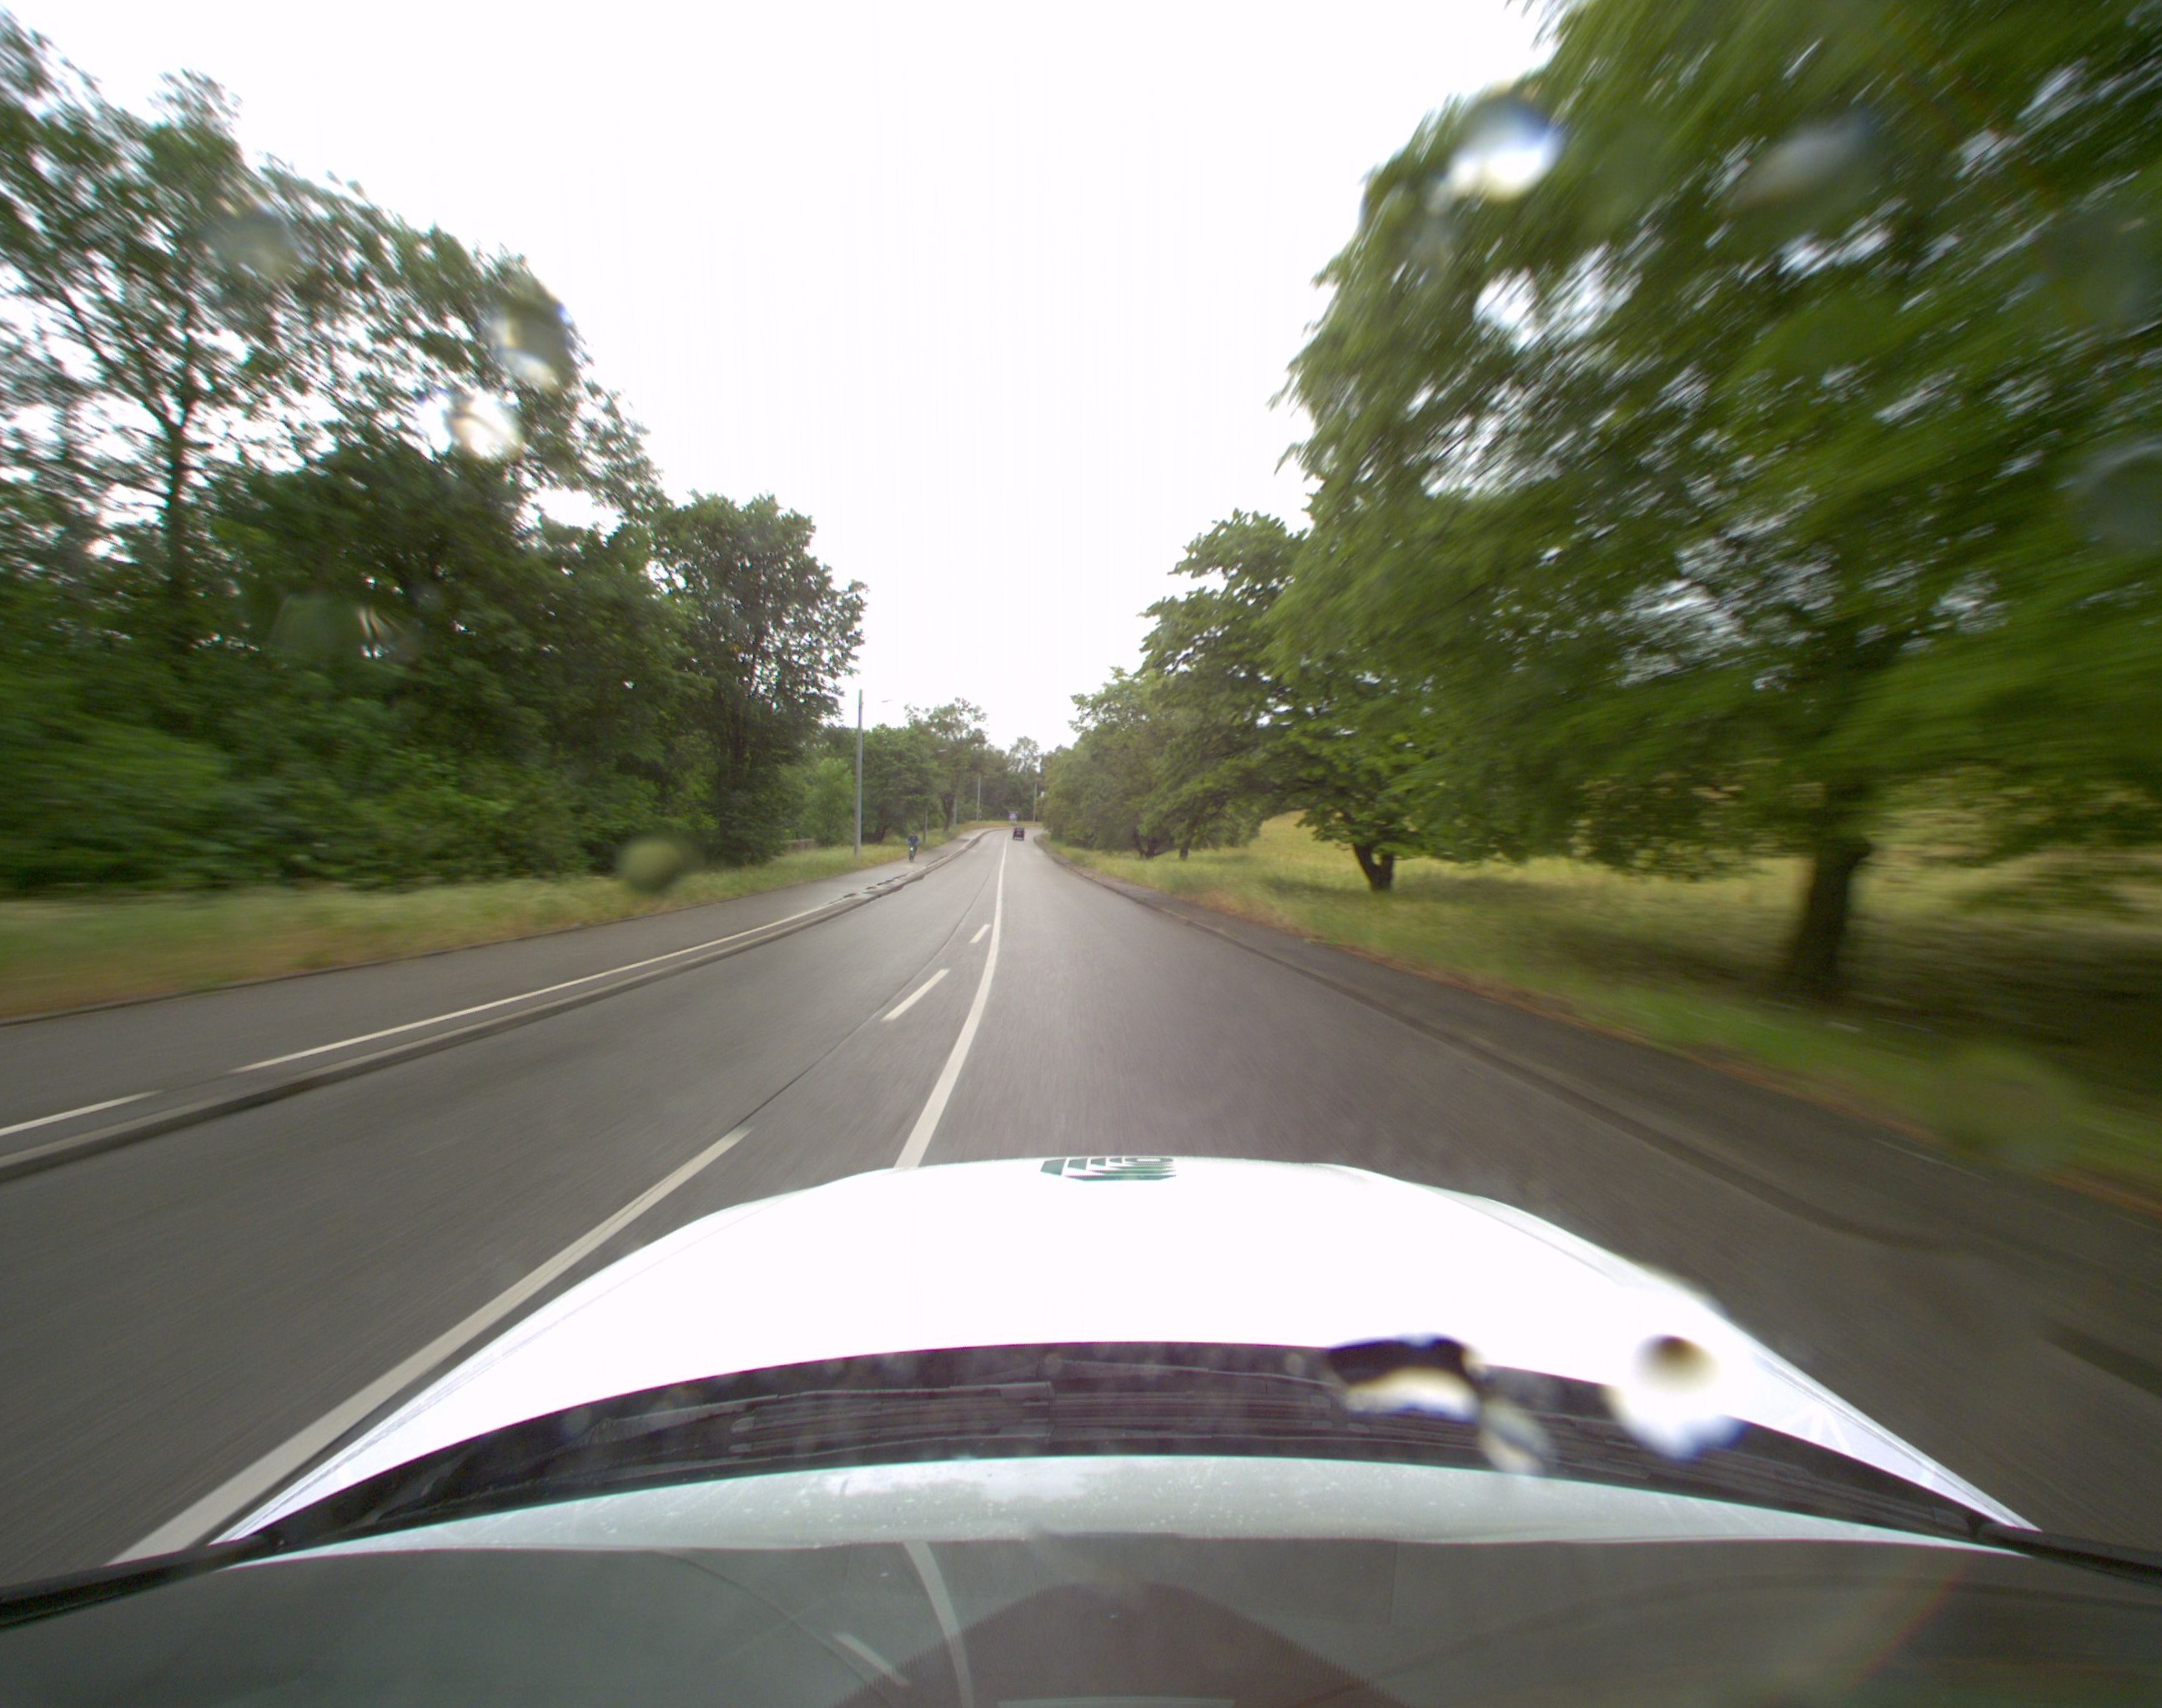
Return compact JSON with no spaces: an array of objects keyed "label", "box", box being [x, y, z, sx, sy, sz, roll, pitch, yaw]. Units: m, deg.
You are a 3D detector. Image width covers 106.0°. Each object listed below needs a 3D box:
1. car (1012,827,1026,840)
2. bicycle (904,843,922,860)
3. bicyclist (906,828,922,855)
[{"label":"car","box":[-8.958,-2.927,117.695,1.738,1.716,3.996,3,1,-3]},{"label":"bicycle","box":[-10.168,-0.153,49.300,0.723,0.941,2.546,4,1,-6]},{"label":"bicyclist","box":[-10.144,-0.770,49.431,0.707,1.556,1.168,4,1,-6]}]
